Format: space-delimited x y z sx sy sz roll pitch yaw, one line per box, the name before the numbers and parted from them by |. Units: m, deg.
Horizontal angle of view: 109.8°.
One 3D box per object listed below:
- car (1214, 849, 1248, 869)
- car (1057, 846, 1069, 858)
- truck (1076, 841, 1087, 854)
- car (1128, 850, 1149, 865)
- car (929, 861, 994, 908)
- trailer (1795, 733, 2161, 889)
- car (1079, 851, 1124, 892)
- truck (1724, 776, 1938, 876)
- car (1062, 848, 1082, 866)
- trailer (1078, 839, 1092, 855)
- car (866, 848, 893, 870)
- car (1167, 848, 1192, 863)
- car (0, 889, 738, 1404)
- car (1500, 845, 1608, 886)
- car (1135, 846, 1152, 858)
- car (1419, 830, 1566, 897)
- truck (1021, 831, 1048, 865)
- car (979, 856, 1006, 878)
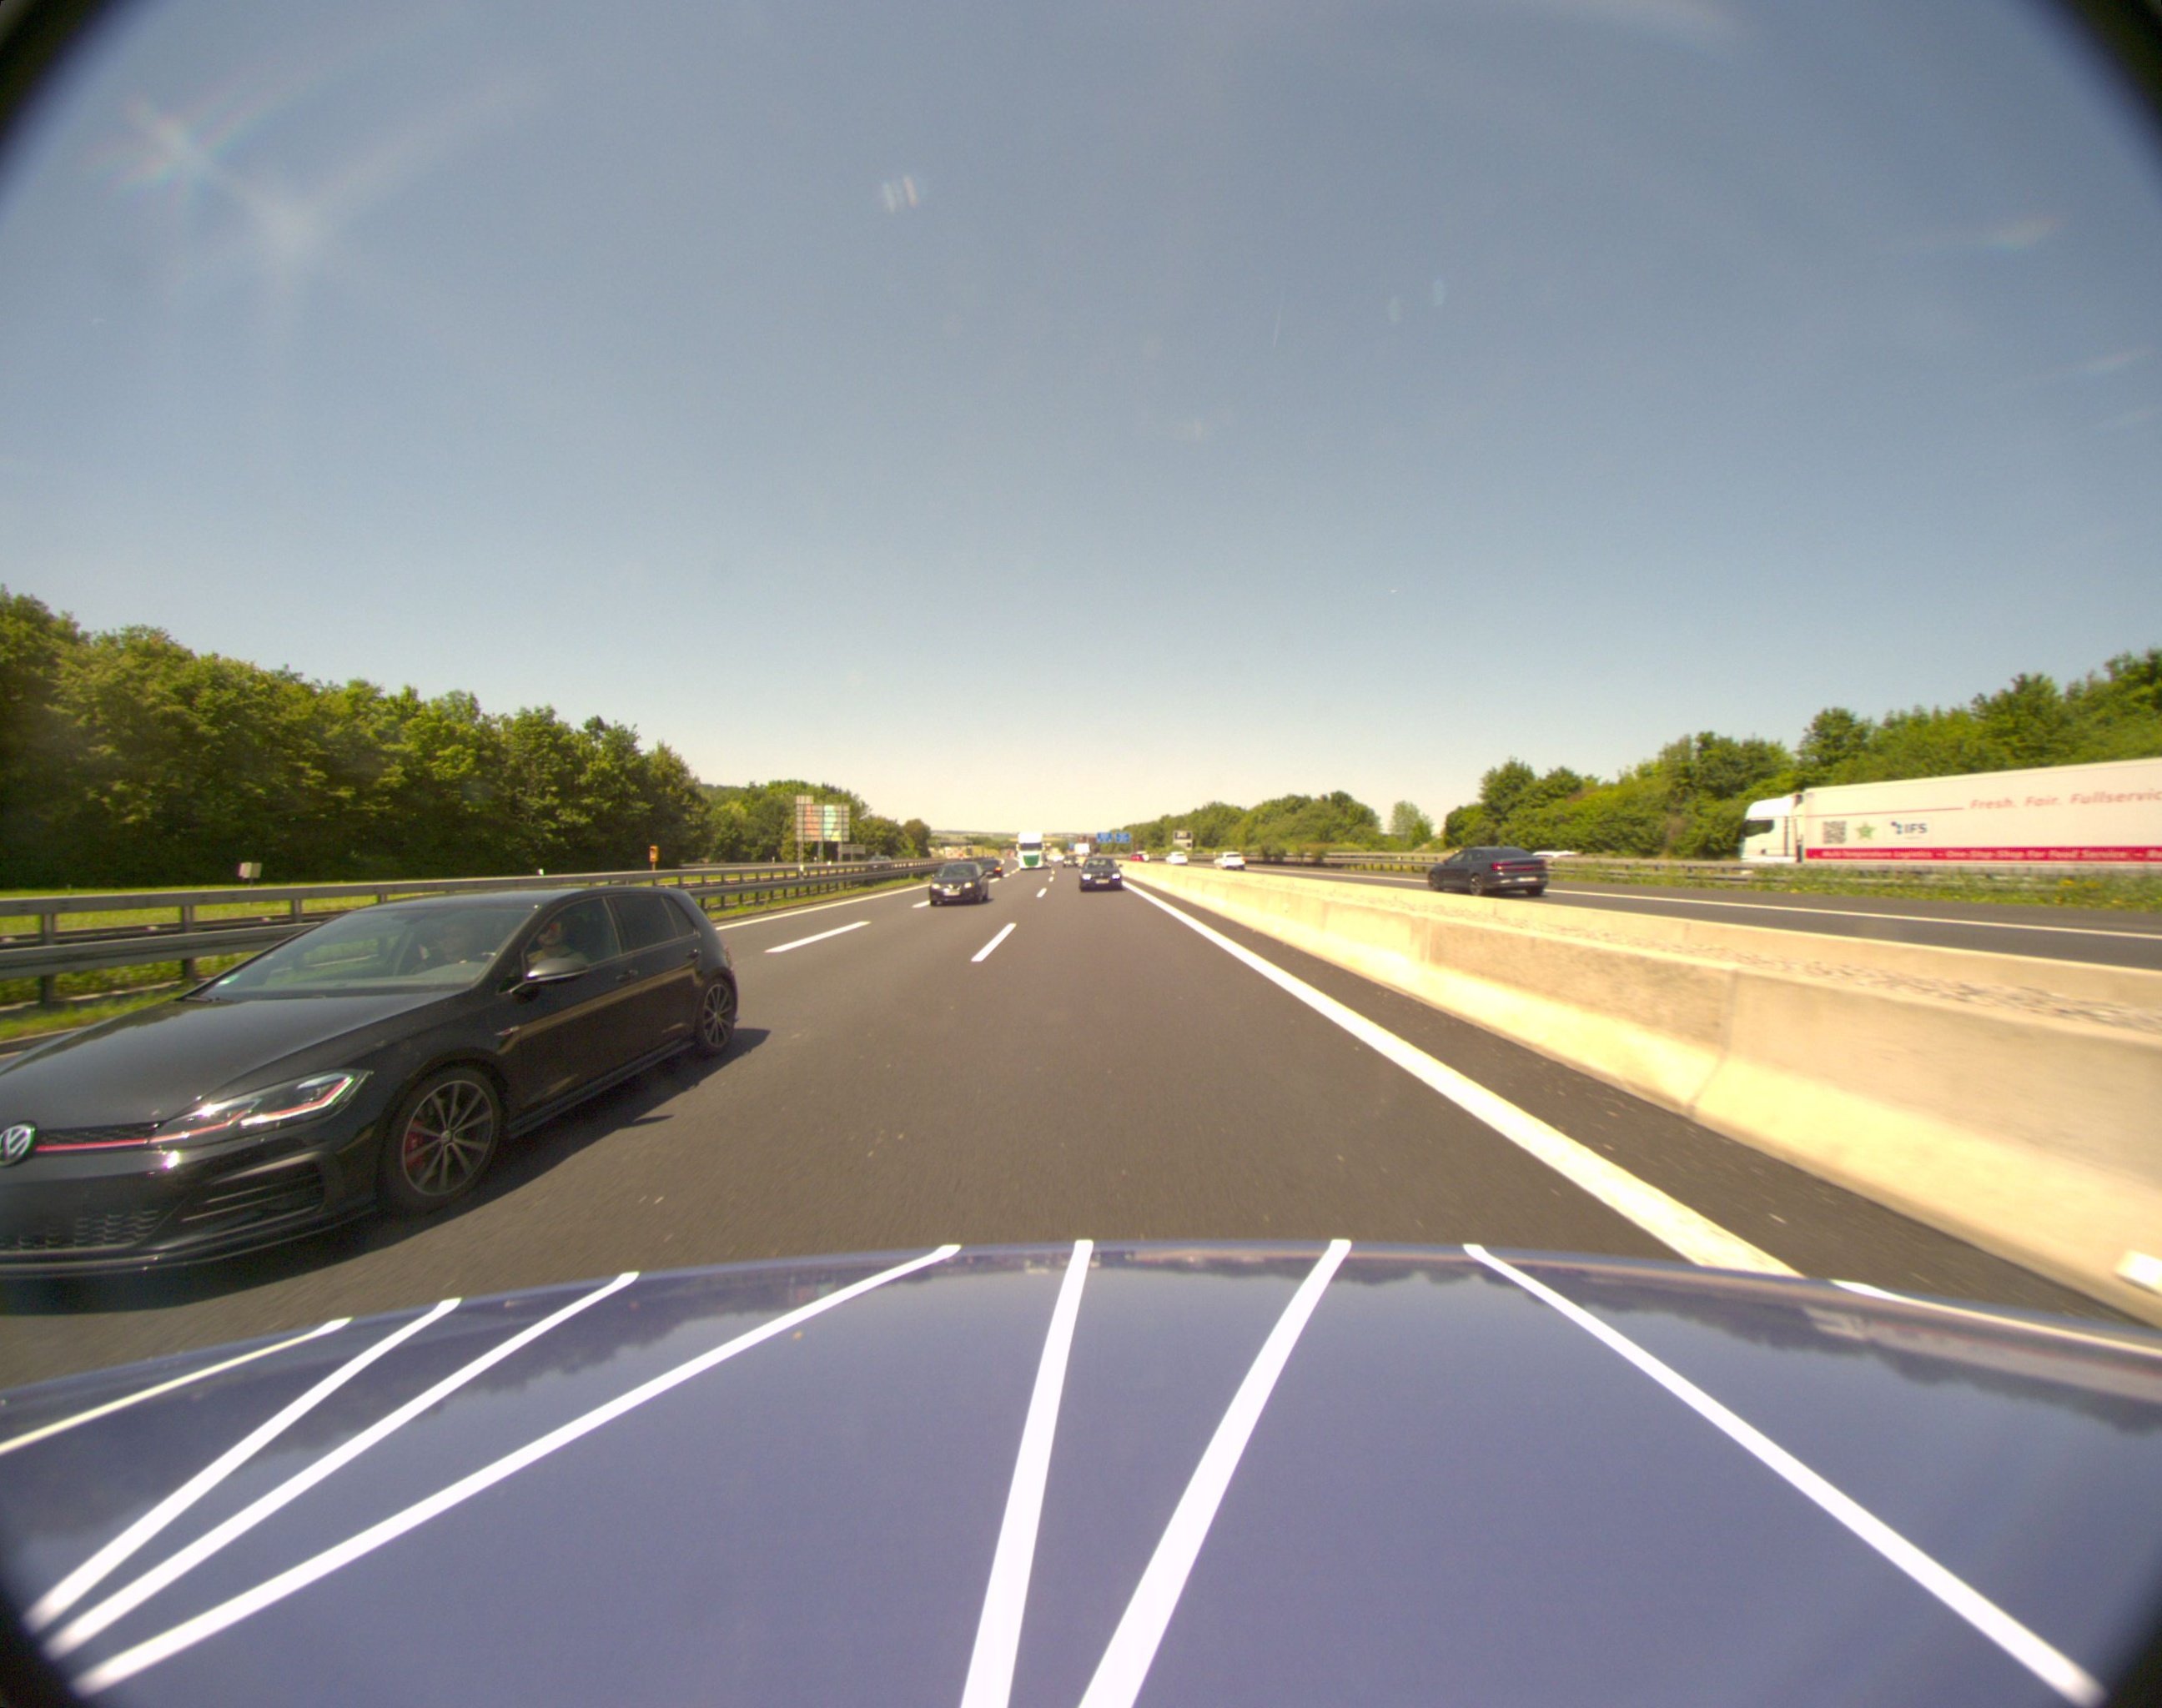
car | 11.738 0.362 59.679 1.855 1.386 3.999 -3 0 0
car | -3.097 -0.320 132.901 1.925 2.002 3.998 -1 0 -4
truck | 0.179 -1.787 222.634 2.758 3.733 4.863 -1 1 -5
car | 6.898 0.422 91.383 1.999 1.649 4.633 -1 1 -1
car | -4.099 0.996 26.534 1.781 1.392 3.759 -1 1 -2
trailer | 29.134 -1.165 22.346 3.116 3.974 14.082 -1 1 0
car | 0.931 0.704 32.581 1.798 1.574 4.000 -1 1 3
truck | 29.152 -1.035 29.910 3.091 3.483 5.408 -1 1 0
car | -1.080 0.316 89.019 1.999 2.002 3.997 -1 1 -6
trailer | 0.970 -1.930 213.796 2.726 4.287 12.816 -1 1 -5
car | -19.214 0.450 72.540 2.000 2.002 3.997 -1 0 -9
car | 10.888 0.181 84.632 1.999 1.535 5.040 -1 1 -1
car | -3.831 1.052 4.429 1.799 1.427 3.965 -1 1 0
car | 24.362 0.546 39.446 1.999 2.002 5.317 -1 0 -5
car | 9.204 -0.269 111.949 1.874 1.656 4.662 -1 1 -3
car | 12.371 0.229 23.296 1.998 1.814 4.905 -1 1 2
truck | -5.123 -0.642 83.204 2.650 3.572 4.400 -1 1 -7
car | -6.742 0.969 58.236 1.892 1.464 3.865 -1 1 -5
